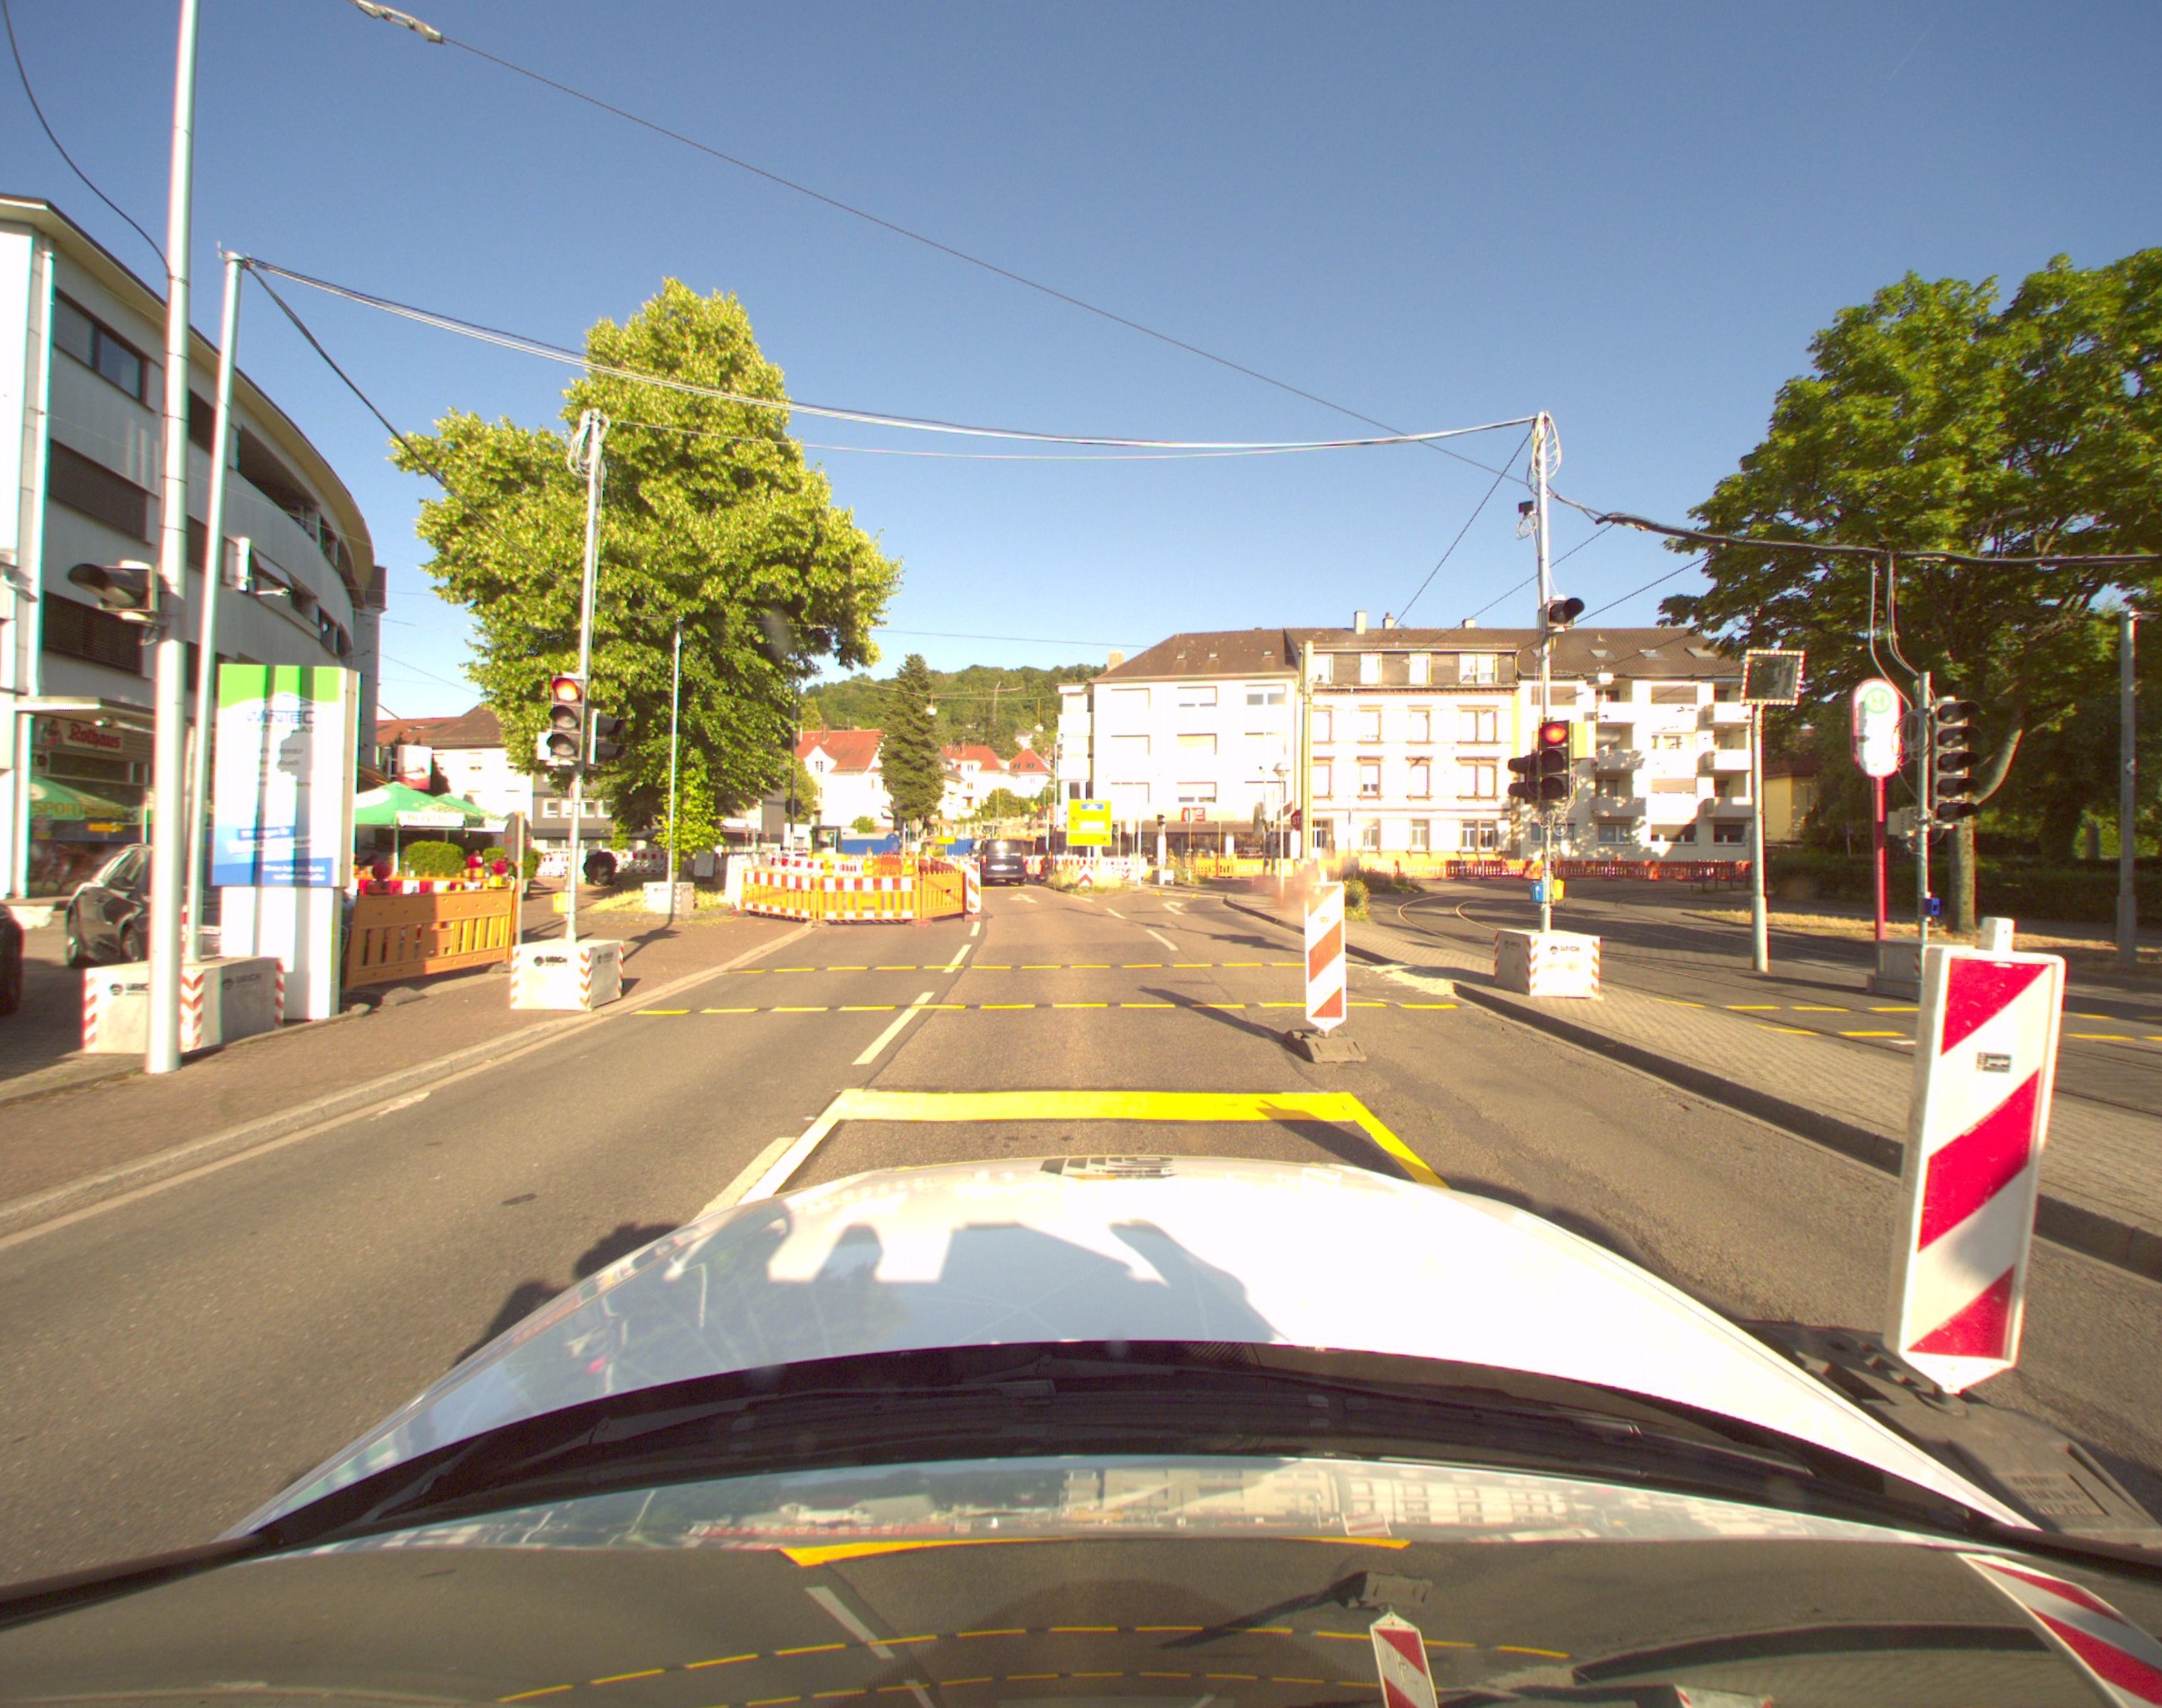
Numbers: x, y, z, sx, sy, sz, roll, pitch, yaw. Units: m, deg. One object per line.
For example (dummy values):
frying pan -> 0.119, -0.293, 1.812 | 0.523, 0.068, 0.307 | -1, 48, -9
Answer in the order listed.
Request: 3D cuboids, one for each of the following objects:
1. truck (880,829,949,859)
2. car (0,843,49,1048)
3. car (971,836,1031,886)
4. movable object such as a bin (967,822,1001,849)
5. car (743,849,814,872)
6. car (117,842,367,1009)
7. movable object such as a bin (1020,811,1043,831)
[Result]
truck -> -14.316, -0.828, 70.902 | 2.340, 2.415, 9.184 | 0, 0, 13
car -> -8.584, 0.664, 5.305 | 4.259, 1.454, 1.922 | 2, 0, 43
car -> -3.561, 0.238, 35.325 | 2.063, 2.013, 4.981 | 1, 1, -11
movable object such as a bin -> -9.617, -1.813, 81.367 | 2.176, 2.690, 4.013 | 0, 0, 12
car -> -19.044, 0.431, 51.315 | 3.953, 1.409, 1.809 | 0, 0, 21
car -> -9.588, 0.631, 9.345 | 4.246, 1.454, 1.660 | 2, 0, 43
movable object such as a bin -> -6.997, -4.638, 115.941 | 2.176, 2.690, 4.013 | 0, 0, 12
